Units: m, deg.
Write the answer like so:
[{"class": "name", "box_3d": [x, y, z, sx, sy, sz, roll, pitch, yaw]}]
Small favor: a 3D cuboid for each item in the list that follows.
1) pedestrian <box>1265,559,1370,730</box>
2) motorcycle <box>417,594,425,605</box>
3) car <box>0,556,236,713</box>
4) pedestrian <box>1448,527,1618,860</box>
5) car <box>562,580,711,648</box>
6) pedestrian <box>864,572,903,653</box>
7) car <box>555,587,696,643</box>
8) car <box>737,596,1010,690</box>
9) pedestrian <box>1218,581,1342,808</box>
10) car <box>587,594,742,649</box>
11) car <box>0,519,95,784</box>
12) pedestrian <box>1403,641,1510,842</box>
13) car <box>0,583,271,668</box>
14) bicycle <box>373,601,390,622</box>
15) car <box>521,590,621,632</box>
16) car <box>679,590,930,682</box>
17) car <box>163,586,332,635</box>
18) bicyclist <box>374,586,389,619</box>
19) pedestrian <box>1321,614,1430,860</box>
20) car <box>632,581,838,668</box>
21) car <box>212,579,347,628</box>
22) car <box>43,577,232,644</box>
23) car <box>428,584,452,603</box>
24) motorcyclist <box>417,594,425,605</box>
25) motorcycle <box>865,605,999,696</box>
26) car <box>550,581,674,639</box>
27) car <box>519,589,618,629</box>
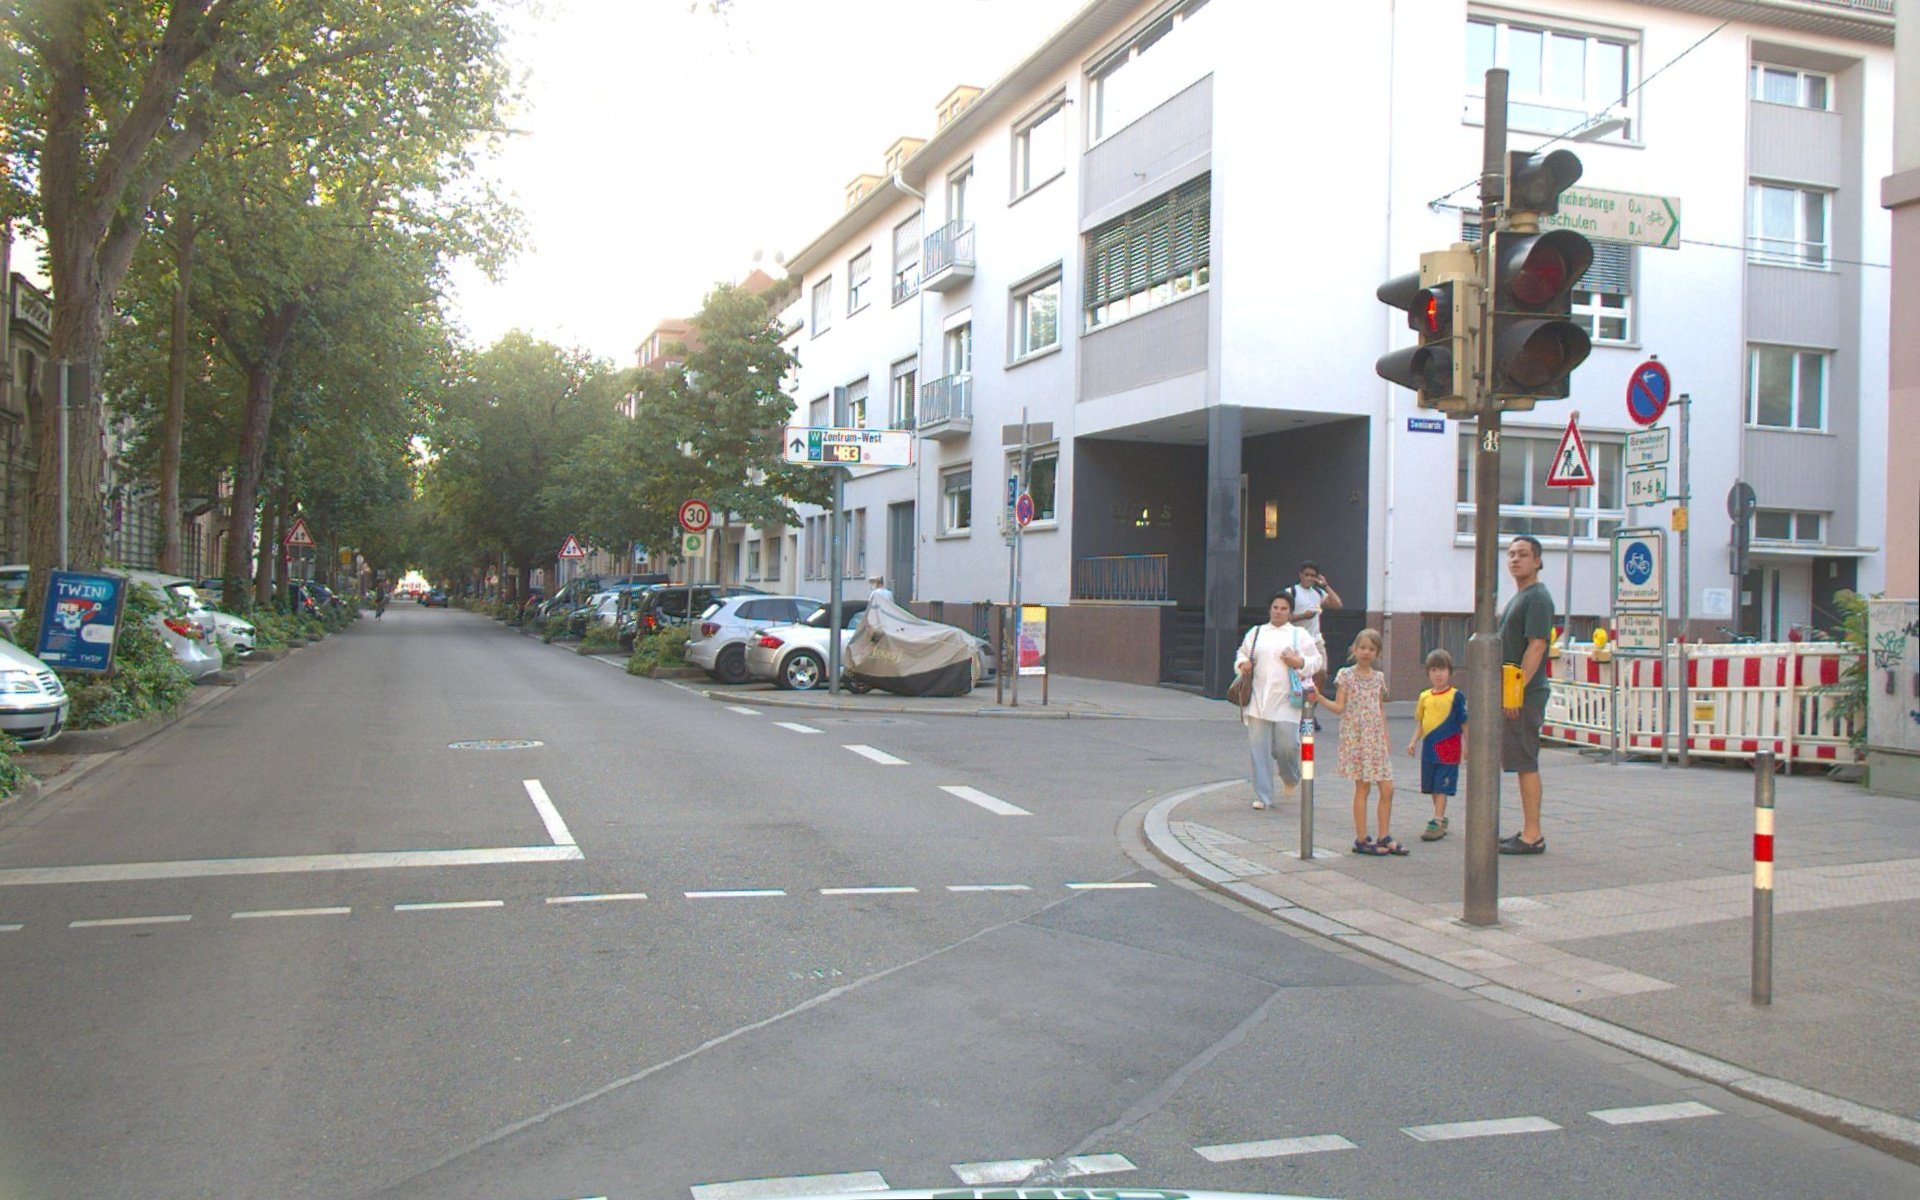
[{"class": "pedestrian", "box_3d": [4.038, 0.493, 18.718, 0.755, 1.873, 0.939, 2, 0, -18]}, {"class": "motorcycle", "box_3d": [-63.720, -0.081, 195.456, 0.806, 1.258, 2.014, 2, -1, -18]}, {"class": "car", "box_3d": [-10.866, 0.374, 18.991, 4.477, 1.718, 1.824, 1, 0, -18]}, {"class": "pedestrian", "box_3d": [3.323, 0.505, 9.673, 0.869, 1.847, 0.794, 1, 2, 16]}, {"class": "car", "box_3d": [-9.165, 0.393, 46.818, 3.953, 1.847, 1.698, 0, 0, -19]}, {"class": "pedestrian", "box_3d": [-1.700, 0.277, 36.818, 0.692, 1.782, 0.697, 2, 0, -15]}, {"class": "car", "box_3d": [-10.009, 0.454, 49.480, 3.953, 1.557, 1.698, 1, 0, -19]}, {"class": "car", "box_3d": [-1.355, 0.644, 25.706, 3.952, 1.366, 1.698, 0, 0, -18]}, {"class": "pedestrian", "box_3d": [2.262, 0.638, 11.644, 0.757, 1.527, 0.802, 0, 0, 19]}, {"class": "car", "box_3d": [-7.992, 0.587, 44.695, 3.953, 1.434, 1.698, 0, 0, -19]}, {"class": "car", "box_3d": [-8.823, 0.335, 11.797, 4.483, 1.867, 1.821, 1, 0, -22]}, {"class": "pedestrian", "box_3d": [3.041, 0.844, 10.181, 0.553, 1.140, 0.838, 0, 1, 11]}, {"class": "car", "box_3d": [-14.431, 0.432, 28.588, 4.477, 1.396, 1.824, 1, 0, -18]}, {"class": "bicycle", "box_3d": [-26.711, 0.531, 76.319, 0.564, 0.966, 1.731, 2, -1, -24]}, {"class": "car", "box_3d": [-16.146, 0.449, 68.784, 3.909, 1.605, 1.904, 2, -1, -13]}, {"class": "car", "box_3d": [-2.645, 0.591, 27.990, 3.953, 1.467, 1.698, 0, 0, -19]}, {"class": "car", "box_3d": [-21.404, 0.319, 49.872, 4.477, 1.434, 1.824, 1, 0, -18]}, {"class": "bicyclist", "box_3d": [-26.743, 0.099, 76.431, 0.564, 1.495, 0.638, 2, -1, -24]}, {"class": "pedestrian", "box_3d": [2.382, 0.768, 9.524, 0.494, 1.359, 0.541, 1, 0, 4]}, {"class": "car", "box_3d": [-4.639, 0.493, 34.041, 3.953, 1.720, 1.698, 0, 0, -19]}, {"class": "car", "box_3d": [-25.341, 0.143, 61.776, 4.477, 1.721, 1.824, 1, 0, -18]}, {"class": "car", "box_3d": [-20.549, 0.268, 41.501, 3.976, 1.618, 1.824, 1, 0, -18]}, {"class": "car", "box_3d": [-44.868, -0.575, 142.679, 1.798, 1.589, 4.005, 2, -1, -19]}, {"class": "motorcyclist", "box_3d": [-63.695, -0.086, 195.371, 0.806, 1.258, 0.846, 2, -1, -19]}, {"class": "motorcycle", "box_3d": [-0.386, 0.687, 22.645, 1.767, 1.220, 0.611, 1, 0, -10]}, {"class": "car", "box_3d": [-11.895, 0.346, 56.494, 3.953, 1.862, 1.698, 1, 0, -19]}, {"class": "car", "box_3d": [-16.723, 0.387, 70.604, 3.953, 1.630, 1.698, 1, 0, -19]}]
